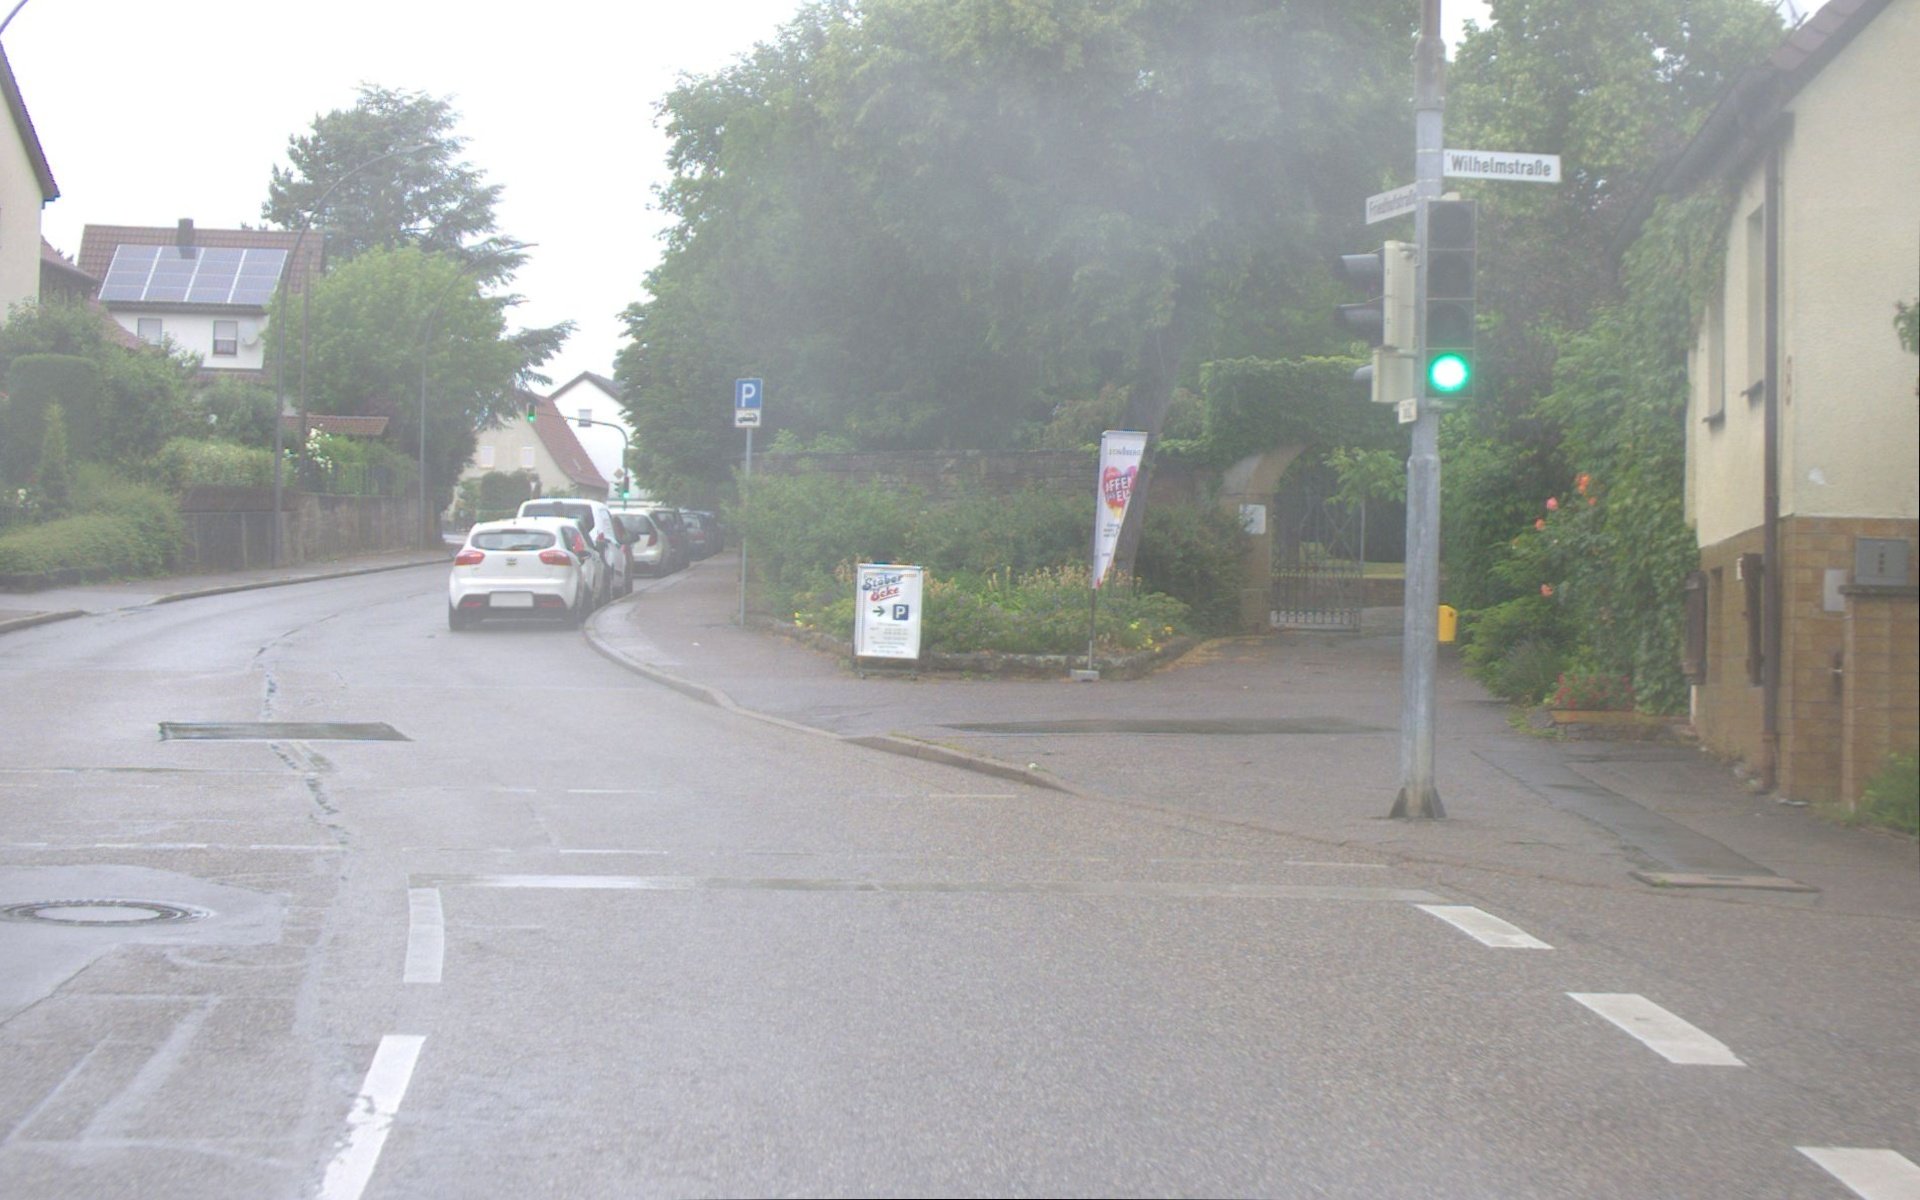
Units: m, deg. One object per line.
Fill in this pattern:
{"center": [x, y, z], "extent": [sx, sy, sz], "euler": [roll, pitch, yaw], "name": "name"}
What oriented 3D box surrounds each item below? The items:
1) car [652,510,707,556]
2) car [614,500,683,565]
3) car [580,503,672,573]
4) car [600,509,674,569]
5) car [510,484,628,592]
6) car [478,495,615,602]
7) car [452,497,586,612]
{"center": [-8.676, -2.080, 106.469], "extent": [1.651, 1.367, 4.182], "euler": [1, 1, -4], "name": "car"}
{"center": [-8.383, -1.813, 92.727], "extent": [1.741, 1.662, 4.498], "euler": [1, 1, -4], "name": "car"}
{"center": [-7.764, -1.445, 80.180], "extent": [1.815, 1.568, 3.880], "euler": [1, 1, -1], "name": "car"}
{"center": [-8.095, -1.533, 86.310], "extent": [1.764, 1.442, 4.697], "euler": [1, 1, -5], "name": "car"}
{"center": [-6.611, -1.057, 58.403], "extent": [1.637, 1.735, 4.136], "euler": [1, 1, -2], "name": "car"}
{"center": [-6.257, -0.816, 52.321], "extent": [1.645, 1.457, 4.001], "euler": [2, 2, -1], "name": "car"}
{"center": [-6.053, -0.649, 47.503], "extent": [1.611, 1.475, 4.039], "euler": [2, 1, -4], "name": "car"}
